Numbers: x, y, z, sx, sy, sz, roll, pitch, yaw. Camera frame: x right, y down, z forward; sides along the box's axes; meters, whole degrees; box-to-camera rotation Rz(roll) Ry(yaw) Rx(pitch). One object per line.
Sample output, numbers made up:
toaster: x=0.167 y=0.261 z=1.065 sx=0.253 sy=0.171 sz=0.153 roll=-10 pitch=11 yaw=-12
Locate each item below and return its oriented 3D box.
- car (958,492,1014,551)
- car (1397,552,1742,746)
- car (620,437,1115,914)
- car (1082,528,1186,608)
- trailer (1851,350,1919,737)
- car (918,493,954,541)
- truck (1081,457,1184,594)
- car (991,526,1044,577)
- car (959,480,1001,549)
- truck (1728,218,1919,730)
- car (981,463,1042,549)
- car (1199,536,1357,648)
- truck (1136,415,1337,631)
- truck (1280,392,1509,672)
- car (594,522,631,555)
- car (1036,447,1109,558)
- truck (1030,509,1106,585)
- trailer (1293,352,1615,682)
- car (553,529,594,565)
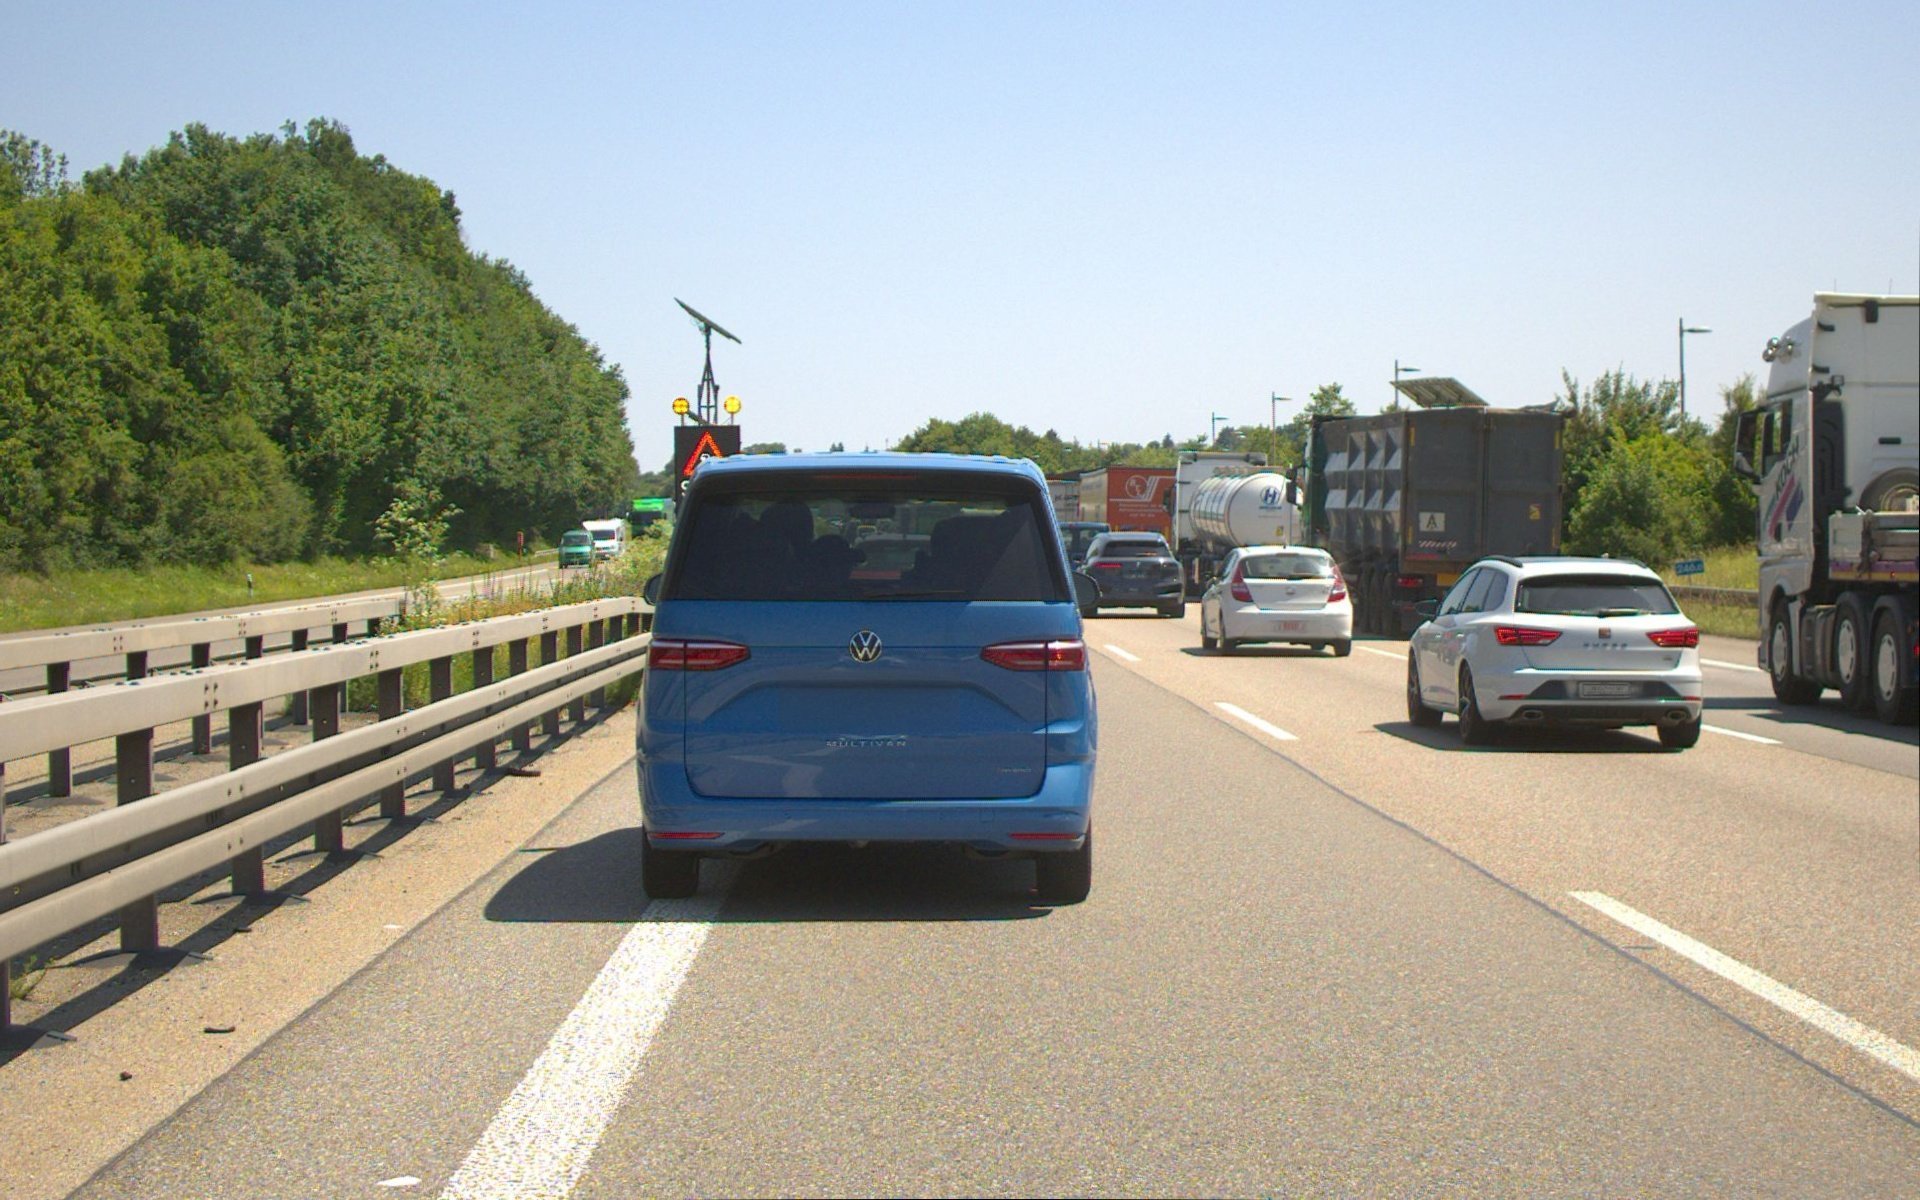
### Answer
car: x=1.231 y=-3.806 z=167.348 sx=2.550 sy=2.708 sz=5.621 roll=1 pitch=0 yaw=-1
car: x=4.649 y=0.326 z=26.769 sx=1.867 sy=1.356 sz=4.000 roll=1 pitch=1 yaw=-1
car: x=-0.334 y=0.288 z=15.450 sx=1.901 sy=1.831 sz=4.000 roll=1 pitch=0 yaw=1
car: x=3.435 y=-0.622 z=68.444 sx=1.781 sy=1.519 sz=4.000 roll=1 pitch=0 yaw=-1
trailer: x=9.272 y=-0.403 z=21.501 sx=3.646 sy=3.068 sz=15.771 roll=1 pitch=0 yaw=2
car: x=-1.710 y=-5.882 z=243.778 sx=2.486 sy=3.193 sz=7.372 roll=1 pitch=0 yaw=0
truck: x=6.402 y=-2.702 z=129.073 sx=3.068 sy=4.903 sz=10.690 roll=1 pitch=0 yaw=-1
car: x=2.345 y=-1.965 z=140.493 sx=1.993 sy=2.007 sz=4.000 roll=1 pitch=0 yaw=-1
car: x=1.431 y=-6.164 z=250.003 sx=2.716 sy=4.697 sz=11.561 roll=1 pitch=0 yaw=-1
truck: x=9.540 y=-0.981 z=31.141 sx=3.626 sy=4.080 sz=7.523 roll=1 pitch=0 yaw=2
car: x=3.289 y=-5.990 z=220.566 sx=3.218 sy=5.239 sz=8.145 roll=1 pitch=0 yaw=-3
car: x=4.338 y=-0.111 z=47.390 sx=1.840 sy=1.449 sz=4.000 roll=1 pitch=0 yaw=1
truck: x=7.120 y=-1.897 z=91.488 sx=3.621 sy=5.195 sz=15.690 roll=1 pitch=0 yaw=-1
truck: x=8.369 y=-1.277 z=66.966 sx=3.658 sy=5.162 sz=5.708 roll=1 pitch=0 yaw=0
car: x=-20.970 y=-3.711 z=207.544 sx=1.796 sy=1.880 sz=4.000 roll=1 pitch=0 yaw=-1
car: x=5.503 y=-4.735 z=169.524 sx=3.218 sy=5.239 sz=8.144 roll=1 pitch=0 yaw=0
truck: x=2.755 y=-1.342 z=88.409 sx=1.725 sy=1.851 sz=4.000 roll=1 pitch=0 yaw=-1
trailer: x=8.389 y=-1.324 z=60.500 sx=3.646 sy=5.119 sz=13.076 roll=1 pitch=0 yaw=0
car: x=-21.321 y=-2.908 z=189.770 sx=1.796 sy=1.880 sz=4.000 roll=1 pitch=0 yaw=-1
